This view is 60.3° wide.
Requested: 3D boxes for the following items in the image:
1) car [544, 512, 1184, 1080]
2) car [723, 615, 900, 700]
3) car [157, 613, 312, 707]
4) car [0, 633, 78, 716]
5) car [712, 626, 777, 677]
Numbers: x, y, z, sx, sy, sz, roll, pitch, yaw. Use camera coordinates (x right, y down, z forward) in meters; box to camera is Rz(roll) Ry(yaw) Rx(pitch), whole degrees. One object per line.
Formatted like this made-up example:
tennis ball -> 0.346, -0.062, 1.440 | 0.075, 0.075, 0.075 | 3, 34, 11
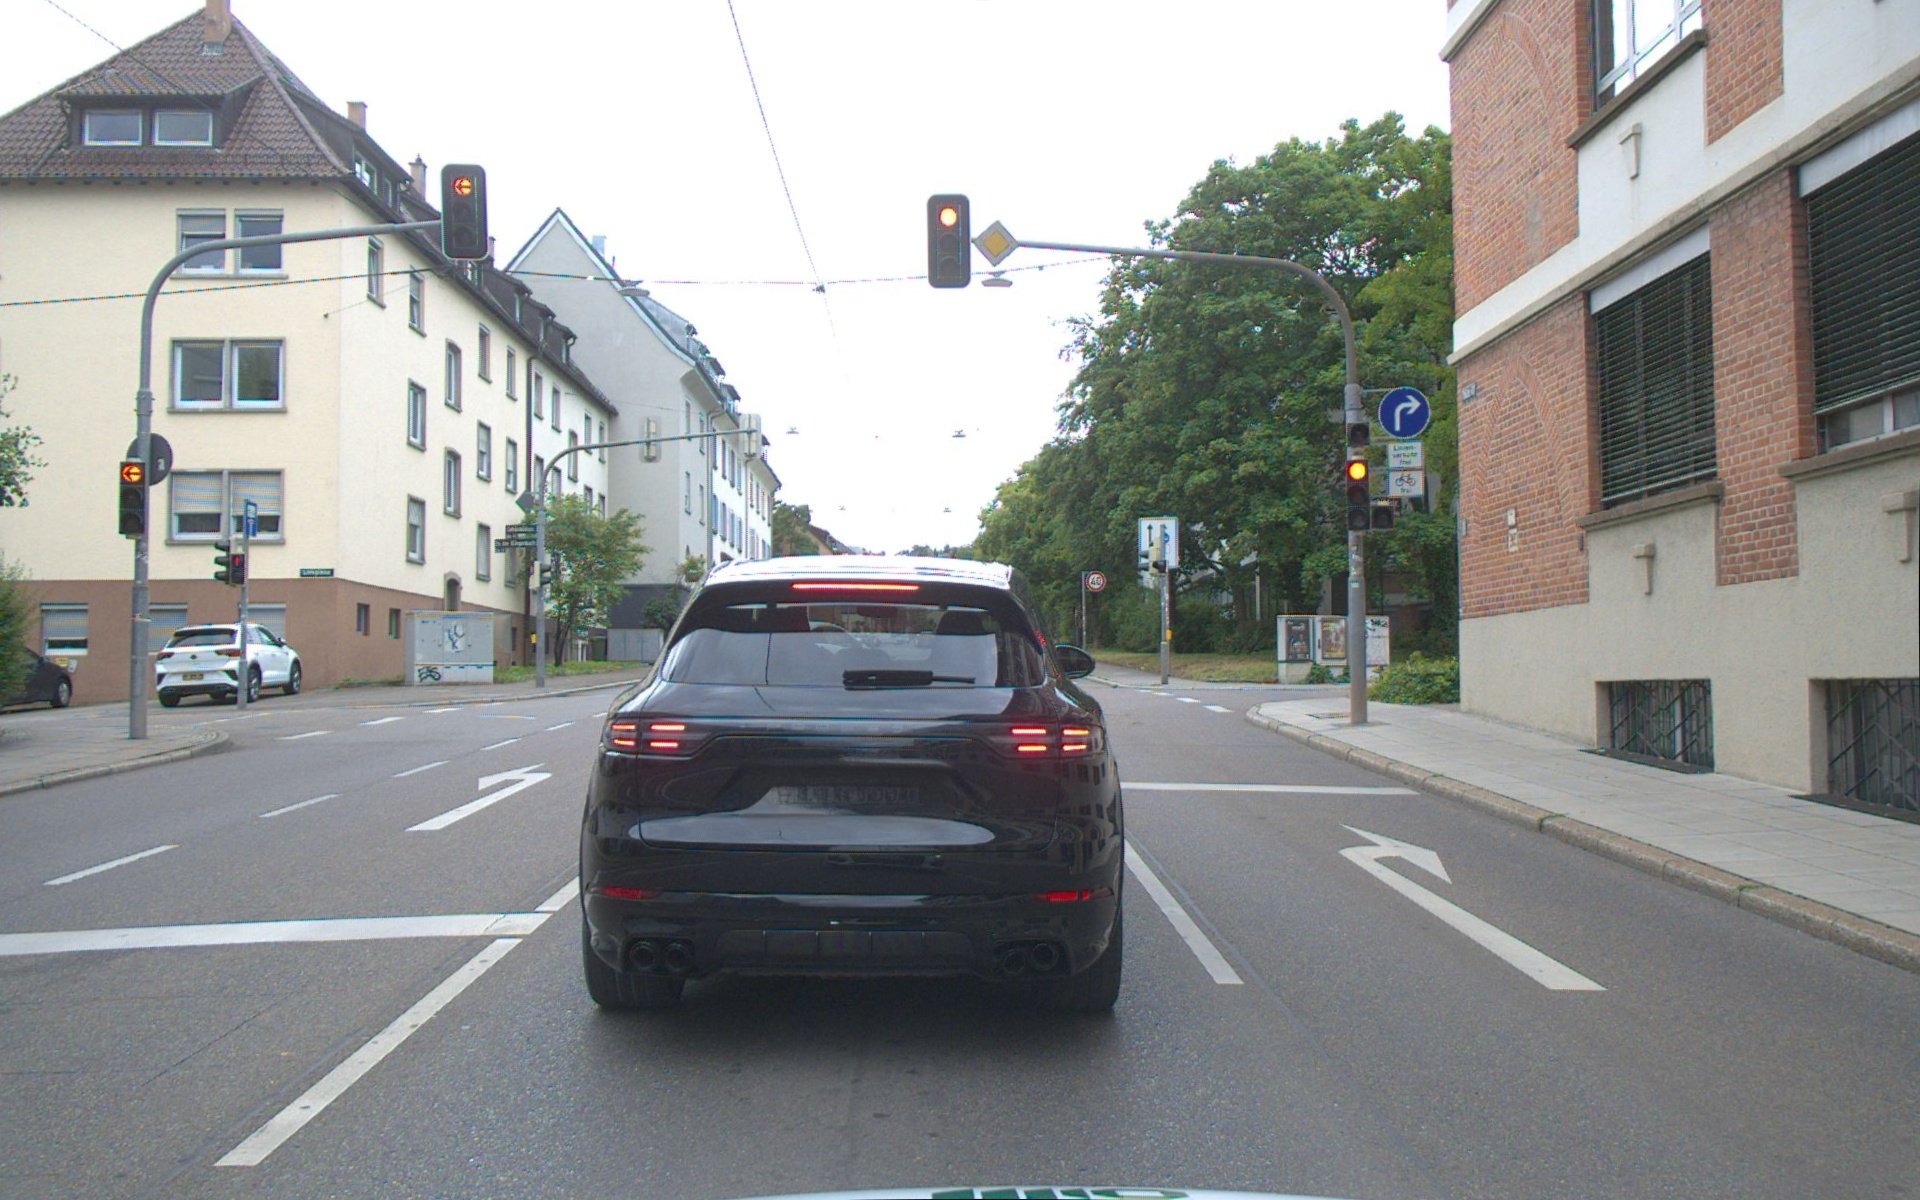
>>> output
car -> -0.320, 0.618, 7.119 | 1.953, 1.726, 3.999 | 1, 0, -1
car -> -2.941, 1.124, 33.498 | 1.657, 1.579, 3.881 | 1, 0, 30
car -> -14.701, 1.163, 33.716 | 1.638, 1.691, 3.995 | -3, 0, -5
car -> -19.754, 1.537, 33.419 | 1.636, 1.573, 4.100 | -3, 0, -1
car -> -7.300, 1.729, 56.276 | 1.630, 1.545, 3.739 | -4, 0, 0
